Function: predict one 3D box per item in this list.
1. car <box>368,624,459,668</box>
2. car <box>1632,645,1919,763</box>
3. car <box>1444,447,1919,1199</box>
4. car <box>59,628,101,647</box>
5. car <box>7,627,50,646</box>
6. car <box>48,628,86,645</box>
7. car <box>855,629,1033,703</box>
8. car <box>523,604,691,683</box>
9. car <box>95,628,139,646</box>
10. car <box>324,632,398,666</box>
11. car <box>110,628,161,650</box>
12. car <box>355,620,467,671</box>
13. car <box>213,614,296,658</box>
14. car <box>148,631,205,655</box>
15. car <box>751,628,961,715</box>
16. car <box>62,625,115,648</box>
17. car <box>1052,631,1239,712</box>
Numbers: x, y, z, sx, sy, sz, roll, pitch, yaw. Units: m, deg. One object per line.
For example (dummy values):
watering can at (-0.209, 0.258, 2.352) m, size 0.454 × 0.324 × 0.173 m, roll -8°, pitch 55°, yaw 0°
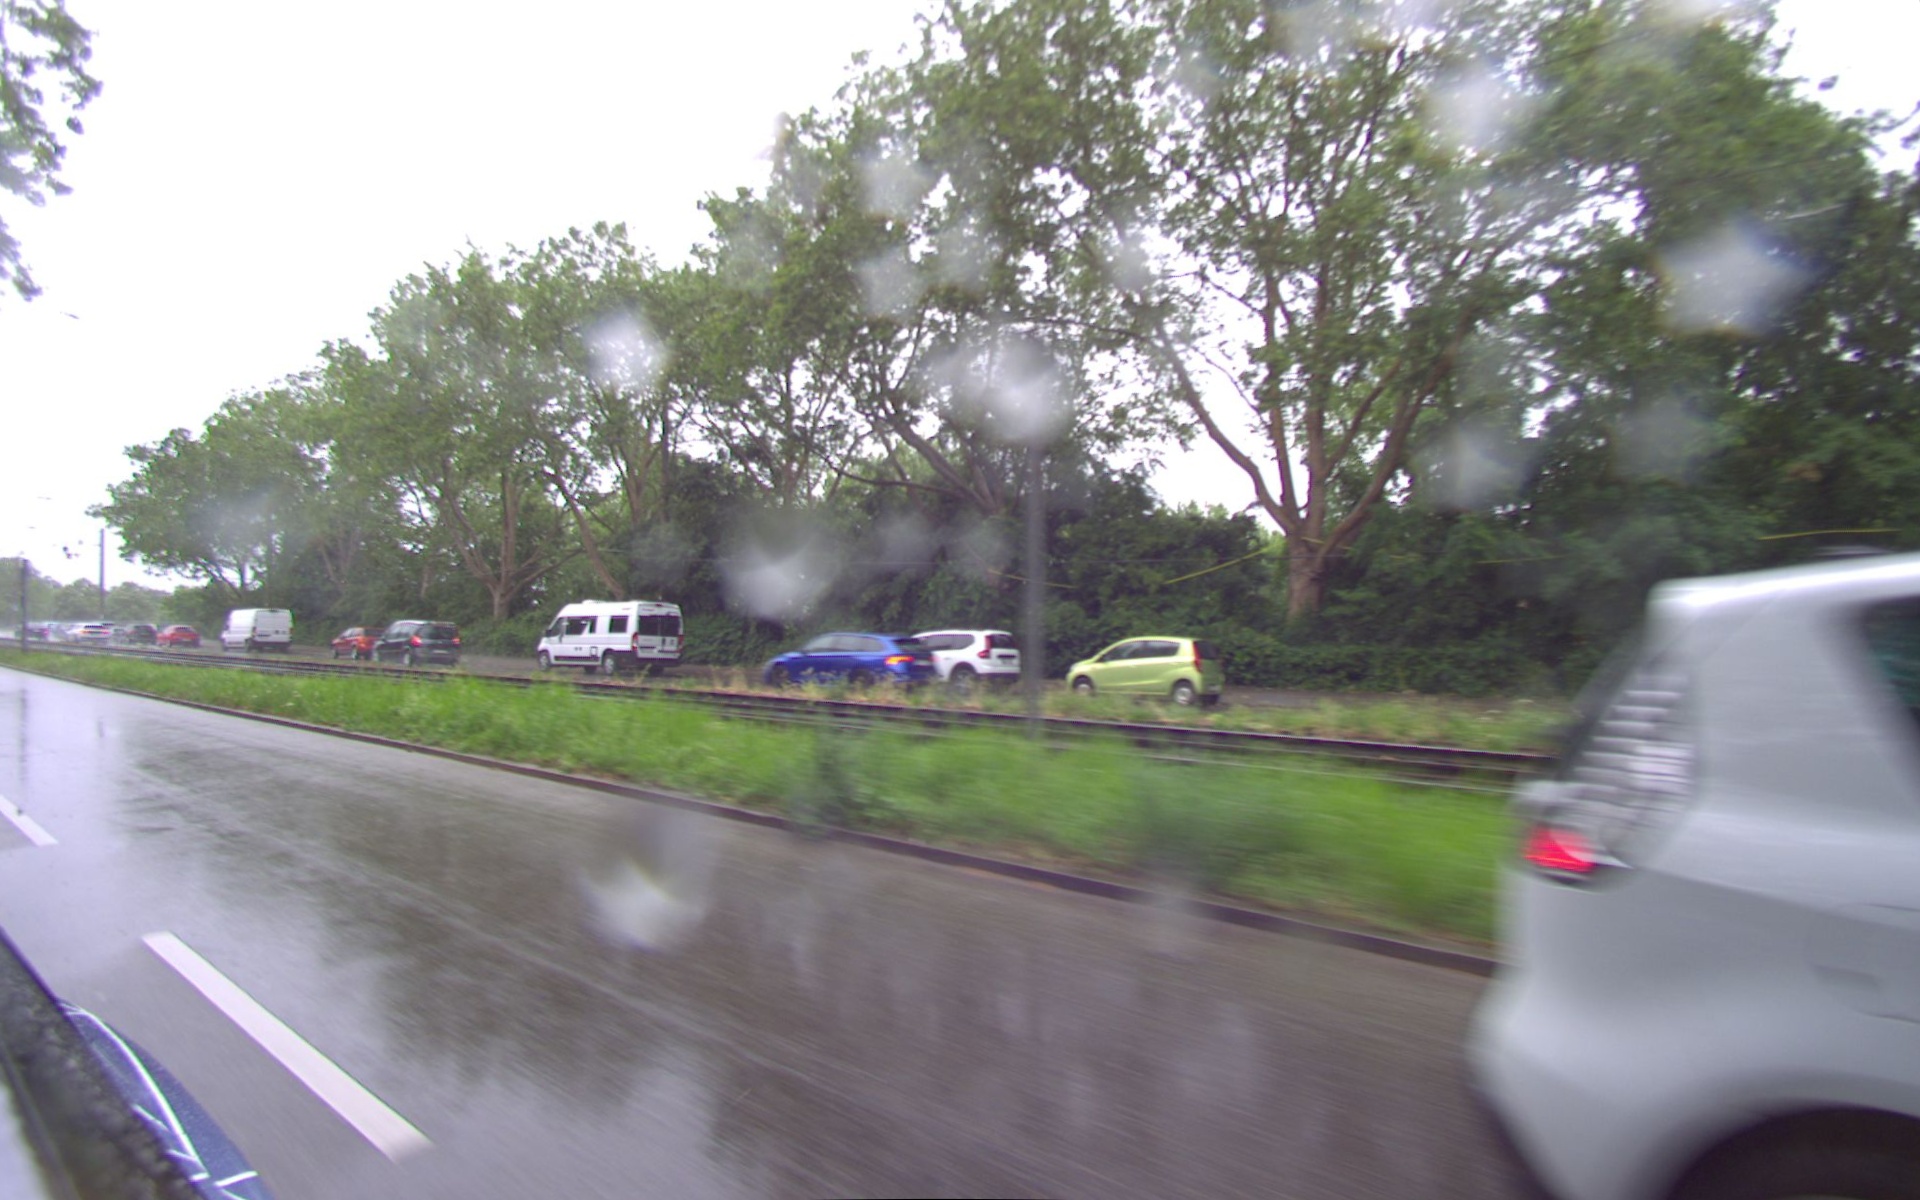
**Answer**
car at (-24.658, 2.053, 45.602) m, size 4.636 × 1.876 × 1.937 m, roll -1°, pitch -3°, yaw 39°
car at (13.197, 1.593, 16.335) m, size 3.807 × 1.661 × 1.744 m, roll -1°, pitch -3°, yaw 38°
car at (3.092, 0.582, 1.130) m, size 4.261 × 1.636 × 1.845 m, roll -1°, pitch -1°, yaw 42°
car at (-76.215, 3.247, 87.617) m, size 4.573 × 1.522 × 1.867 m, roll -1°, pitch -3°, yaw 38°
car at (-77.422, 3.060, 84.097) m, size 4.562 × 1.564 × 2.013 m, roll -2°, pitch -3°, yaw 39°
car at (-80.498, 3.310, 91.212) m, size 4.122 × 1.442 × 1.634 m, roll -1°, pitch -3°, yaw 35°
car at (-0.476, 1.657, 26.279) m, size 4.525 × 1.741 × 1.733 m, roll -1°, pitch -3°, yaw 38°
car at (-12.575, 1.513, 35.767) m, size 6.556 × 2.560 × 2.367 m, roll -1°, pitch -3°, yaw 38°
car at (-66.251, 2.911, 79.545) m, size 3.961 × 1.389 × 1.867 m, roll -1°, pitch -3°, yaw 39°
car at (-29.242, 2.361, 49.371) m, size 4.020 × 1.564 × 1.800 m, roll -1°, pitch -3°, yaw 39°
car at (-62.141, 2.907, 76.258) m, size 4.378 × 1.564 × 2.014 m, roll -1°, pitch -3°, yaw 38°
car at (-20.170, 1.651, 37.128) m, size 4.253 × 1.764 × 2.012 m, roll -1°, pitch -3°, yaw 38°
car at (-41.460, 2.073, 59.407) m, size 6.132 × 2.465 × 2.306 m, roll -1°, pitch -3°, yaw 39°
car at (-53.600, 2.912, 69.194) m, size 4.378 × 1.564 × 2.014 m, roll -1°, pitch -3°, yaw 38°
car at (-2.442, 1.565, 23.204) m, size 4.687 × 1.764 × 2.012 m, roll -1°, pitch -3°, yaw 38°
car at (-62.018, 2.591, 71.992) m, size 4.762 × 1.579 × 1.959 m, roll -1°, pitch -3°, yaw 38°
car at (4.162, 1.568, 22.931) m, size 3.807 × 1.661 × 1.744 m, roll -1°, pitch -3°, yaw 38°
